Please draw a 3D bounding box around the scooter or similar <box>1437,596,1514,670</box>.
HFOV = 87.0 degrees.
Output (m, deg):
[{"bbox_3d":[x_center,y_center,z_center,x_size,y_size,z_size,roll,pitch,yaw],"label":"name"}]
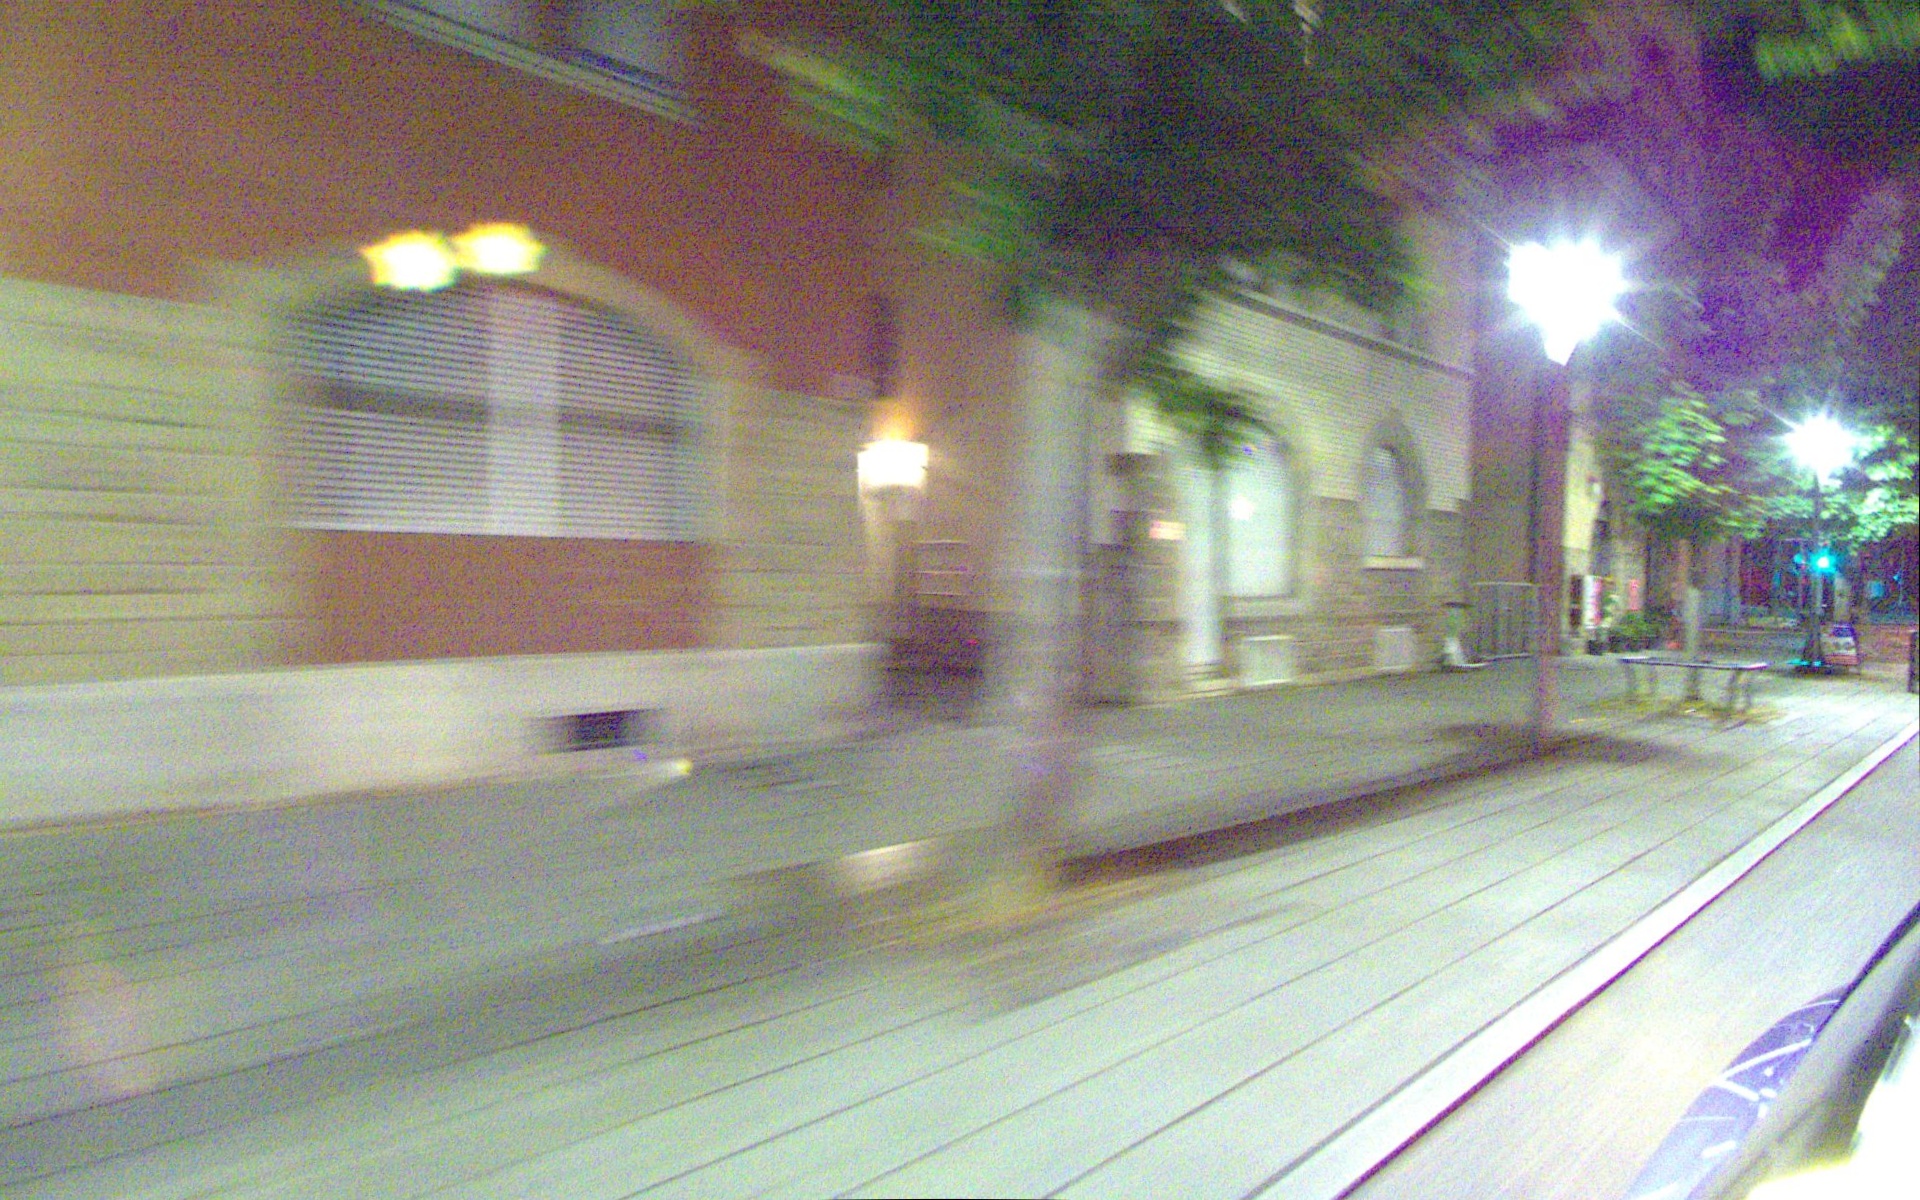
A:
[{"bbox_3d":[8.464,0.526,16.601,1.464,1.144,0.423,0,2,-34],"label":"scooter or similar"}]
